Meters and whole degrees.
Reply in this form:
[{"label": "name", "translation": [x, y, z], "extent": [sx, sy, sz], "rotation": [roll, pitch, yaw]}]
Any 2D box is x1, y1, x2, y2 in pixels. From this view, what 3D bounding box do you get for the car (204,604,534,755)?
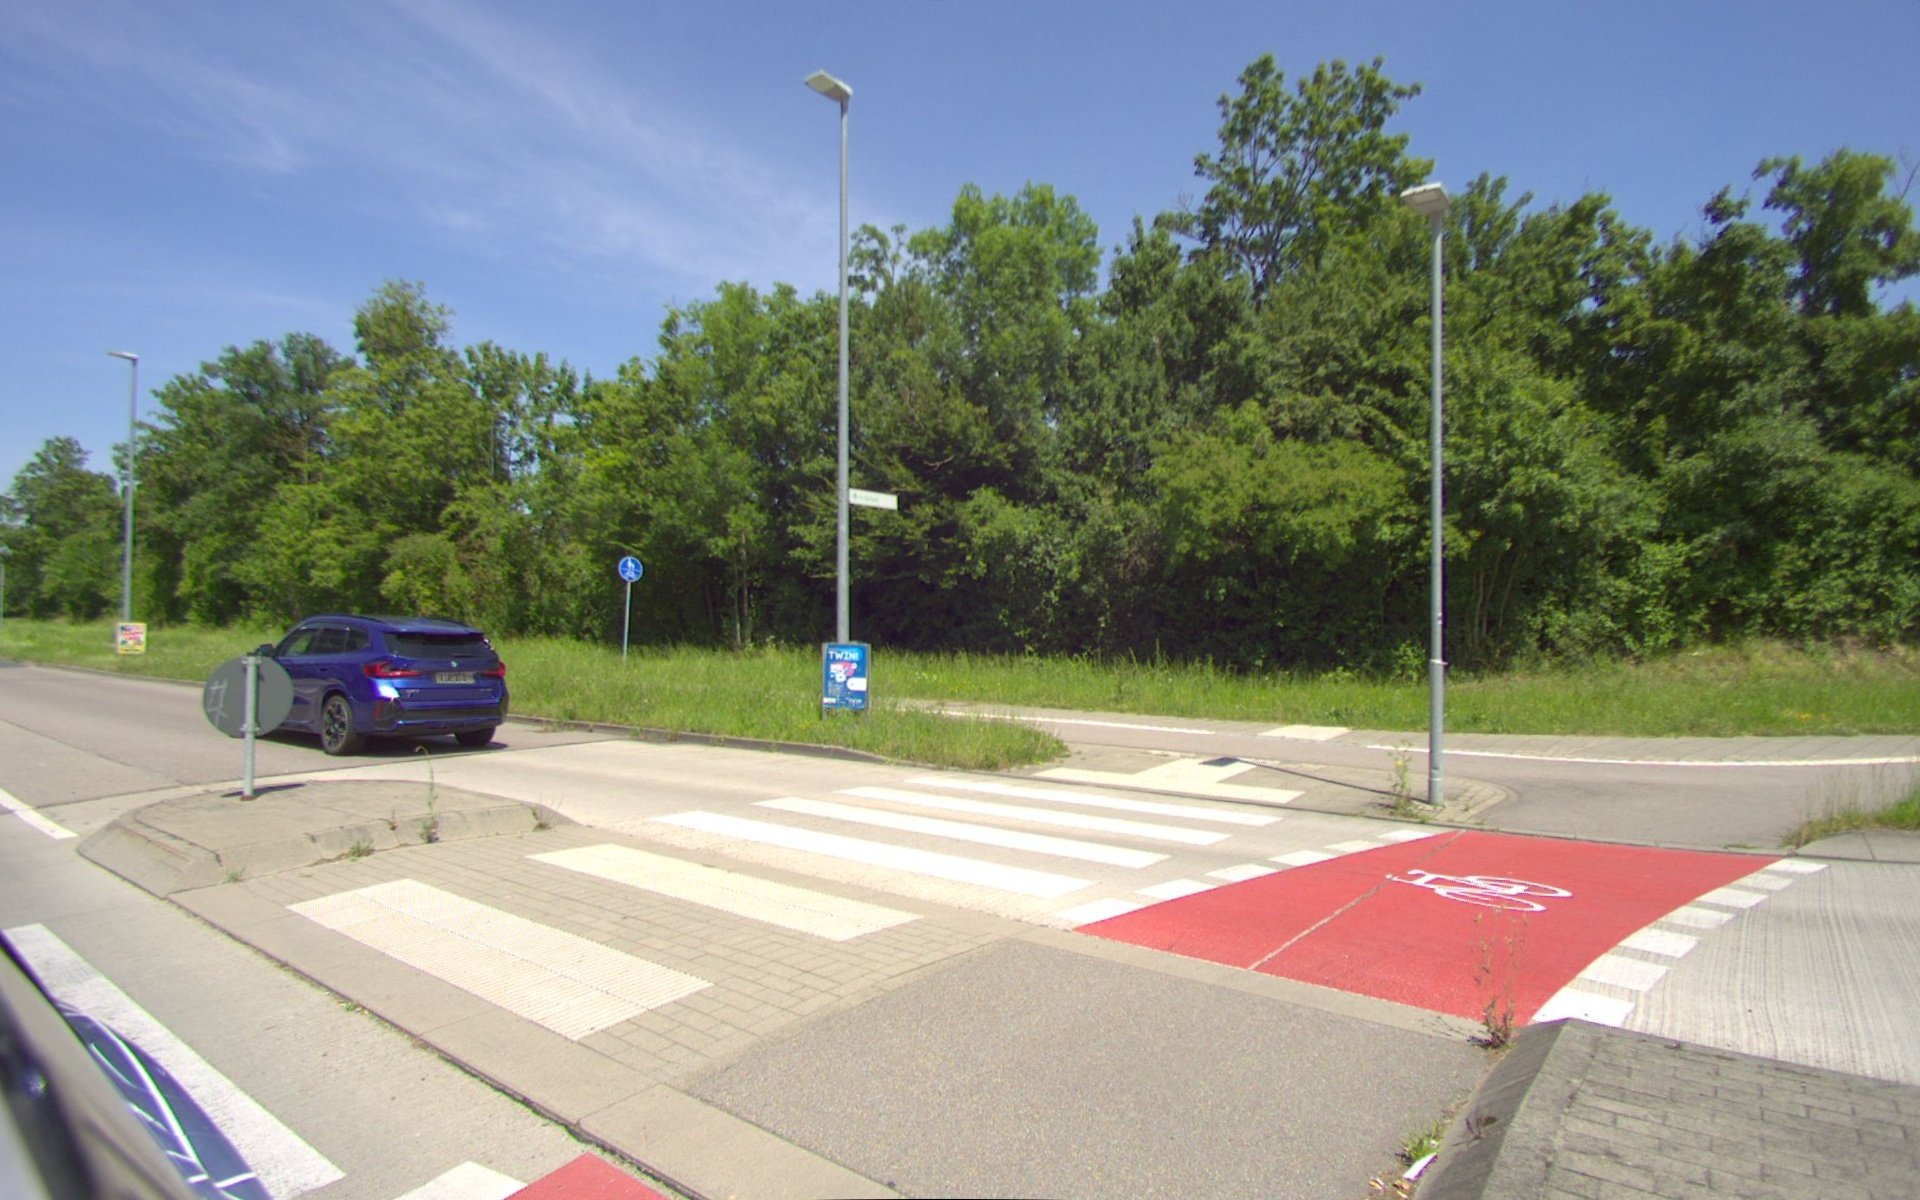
[{"label": "car", "translation": [-7.571, 0.963, 12.860], "extent": [4.311, 1.608, 1.976], "rotation": [-3, -4, 35]}]
